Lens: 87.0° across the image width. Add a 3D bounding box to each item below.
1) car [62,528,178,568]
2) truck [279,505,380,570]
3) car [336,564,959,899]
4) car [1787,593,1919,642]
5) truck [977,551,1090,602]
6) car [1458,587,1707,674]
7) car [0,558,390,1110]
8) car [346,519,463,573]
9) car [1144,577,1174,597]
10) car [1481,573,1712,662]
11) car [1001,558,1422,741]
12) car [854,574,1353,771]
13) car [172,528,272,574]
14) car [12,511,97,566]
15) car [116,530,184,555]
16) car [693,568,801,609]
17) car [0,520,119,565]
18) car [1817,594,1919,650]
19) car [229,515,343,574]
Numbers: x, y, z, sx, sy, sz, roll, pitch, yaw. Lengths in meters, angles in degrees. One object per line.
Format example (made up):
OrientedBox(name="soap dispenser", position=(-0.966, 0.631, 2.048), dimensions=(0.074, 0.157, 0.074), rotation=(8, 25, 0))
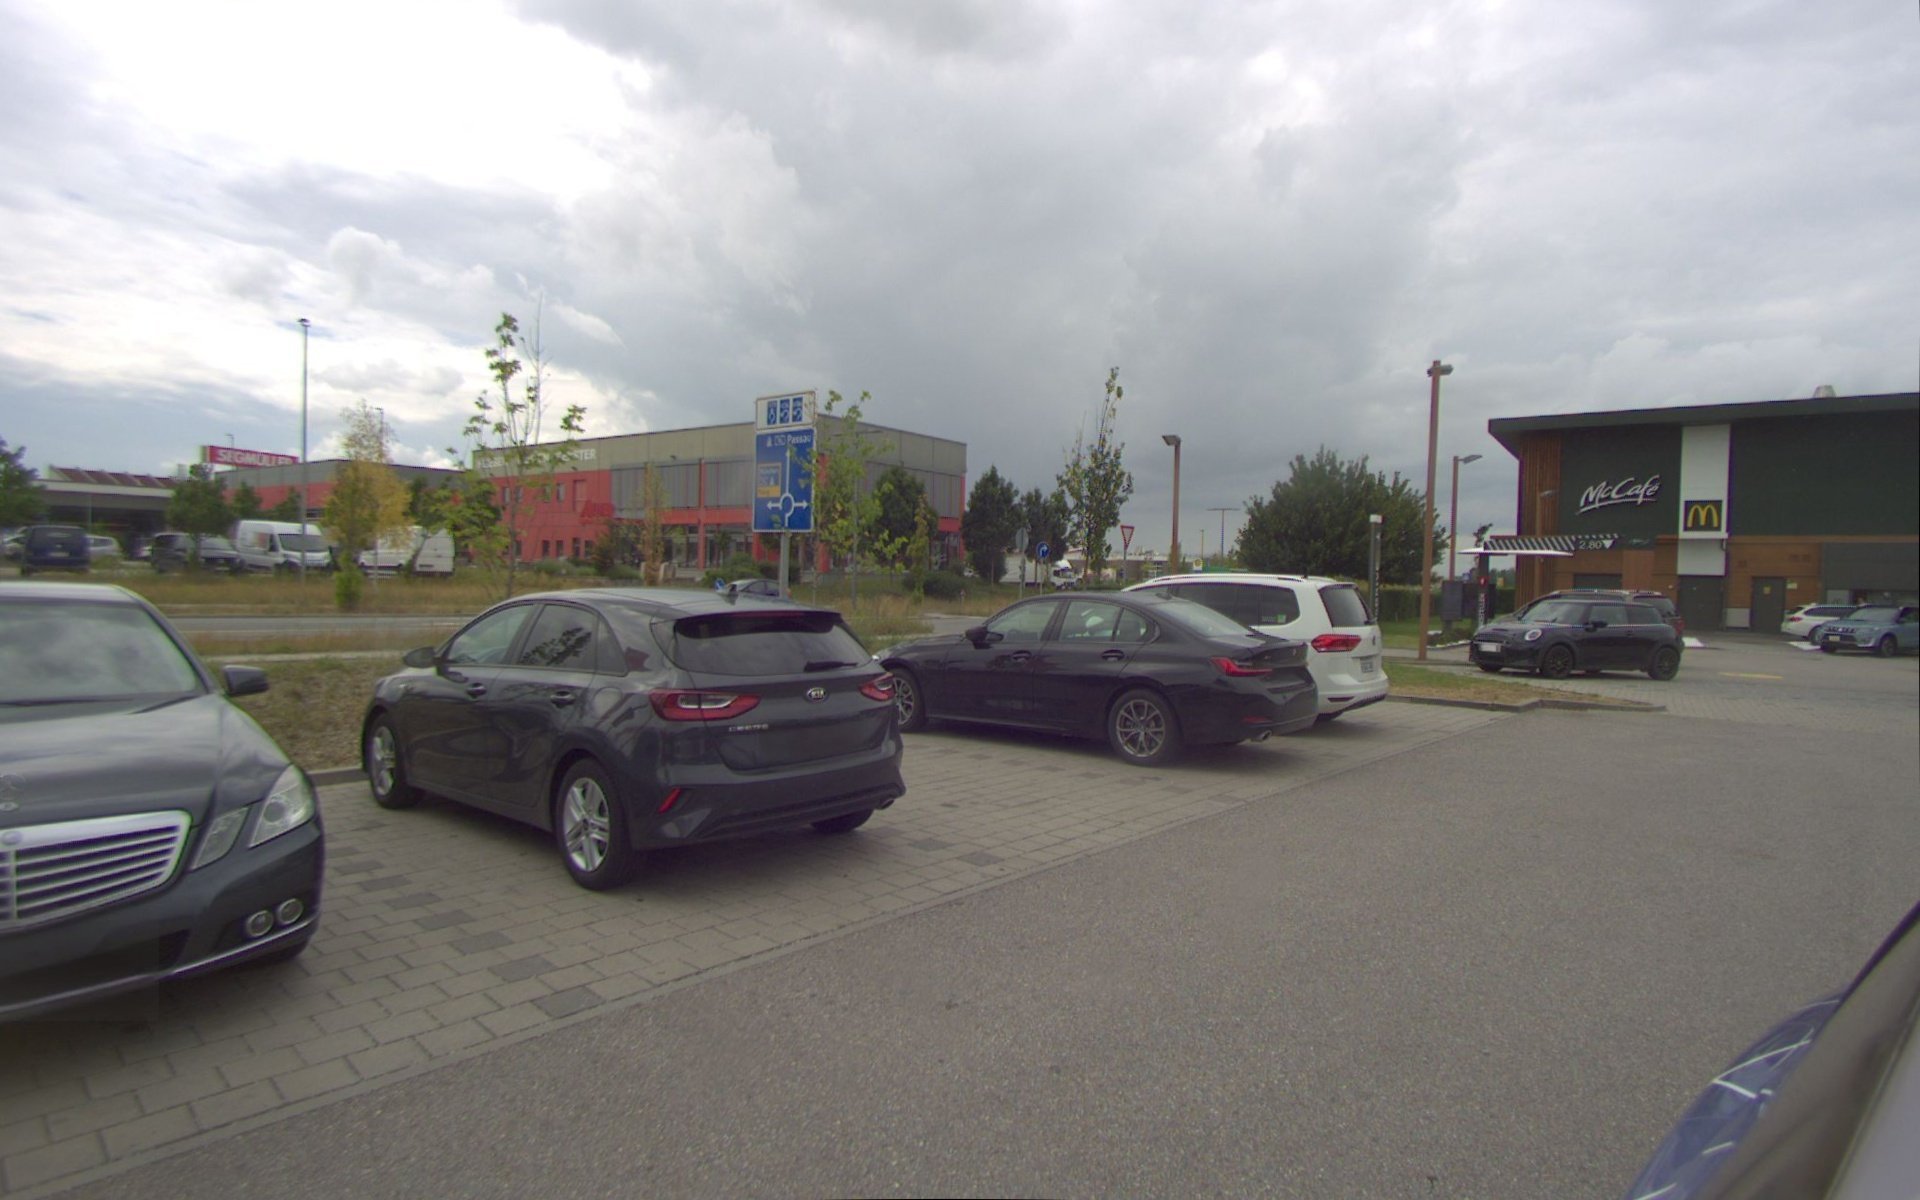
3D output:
OrientedBox(name="car", position=(-39.972, -2.460, 48.223), dimensions=(1.881, 1.759, 3.947), rotation=(4, 3, 37))
OrientedBox(name="truck", position=(-40.074, -4.005, 64.220), dimensions=(8.212, 3.788, 2.622), rotation=(5, 3, 37))
OrientedBox(name="car", position=(-2.141, 0.543, 6.356), dimensions=(4.052, 1.430, 1.861), rotation=(1, 0, 40))
OrientedBox(name="car", position=(33.782, 0.627, 38.035), dimensions=(3.975, 1.524, 1.767), rotation=(5, 3, 35))
OrientedBox(name="truck", position=(7.380, -2.455, 104.128), dimensions=(3.706, 4.553, 11.969), rotation=(0, 4, -45))
OrientedBox(name="car", position=(11.493, 0.553, 18.742), dimensions=(3.848, 1.429, 1.691), rotation=(2, 1, -15))
OrientedBox(name="car", position=(-4.289, 0.602, 4.314), dimensions=(4.725, 1.475, 1.882), rotation=(1, 0, 43))
OrientedBox(name="car", position=(-26.376, -2.583, 47.951), dimensions=(6.469, 2.295, 2.316), rotation=(5, 3, 36))
OrientedBox(name="car", position=(16.586, -1.047, 84.240), dimensions=(1.735, 1.509, 4.100), rotation=(3, 1, 21))
OrientedBox(name="car", position=(14.710, 0.330, 23.668), dimensions=(1.774, 1.710, 4.200), rotation=(1, 3, -27))
OrientedBox(name="car", position=(2.793, 0.450, 11.774), dimensions=(4.352, 1.734, 1.963), rotation=(1, 0, 40))
OrientedBox(name="car", position=(1.225, 0.522, 9.834), dimensions=(4.495, 1.485, 1.919), rotation=(1, 0, 40))
OrientedBox(name="car", position=(-30.750, -2.061, 42.095), dimensions=(5.045, 1.659, 2.049), rotation=(5, 3, 38))
OrientedBox(name="car", position=(-34.603, -2.304, 38.631), dimensions=(5.054, 1.908, 2.045), rotation=(3, 2, 44))
OrientedBox(name="car", position=(-64.604, -4.585, 80.716), dimensions=(1.926, 1.757, 3.942), rotation=(5, 3, 40))
OrientedBox(name="car", position=(-8.296, -0.459, 39.585), dimensions=(1.655, 1.477, 3.860), rotation=(5, 4, 42))
OrientedBox(name="car", position=(-44.163, -2.788, 49.705), dimensions=(1.984, 2.038, 3.958), rotation=(4, 3, 30))
OrientedBox(name="car", position=(29.516, 0.700, 31.959), dimensions=(3.823, 1.603, 1.755), rotation=(1, 3, -15))
OrientedBox(name="car", position=(-29.499, -2.447, 44.206), dimensions=(6.029, 2.241, 2.383), rotation=(5, 3, 38))
